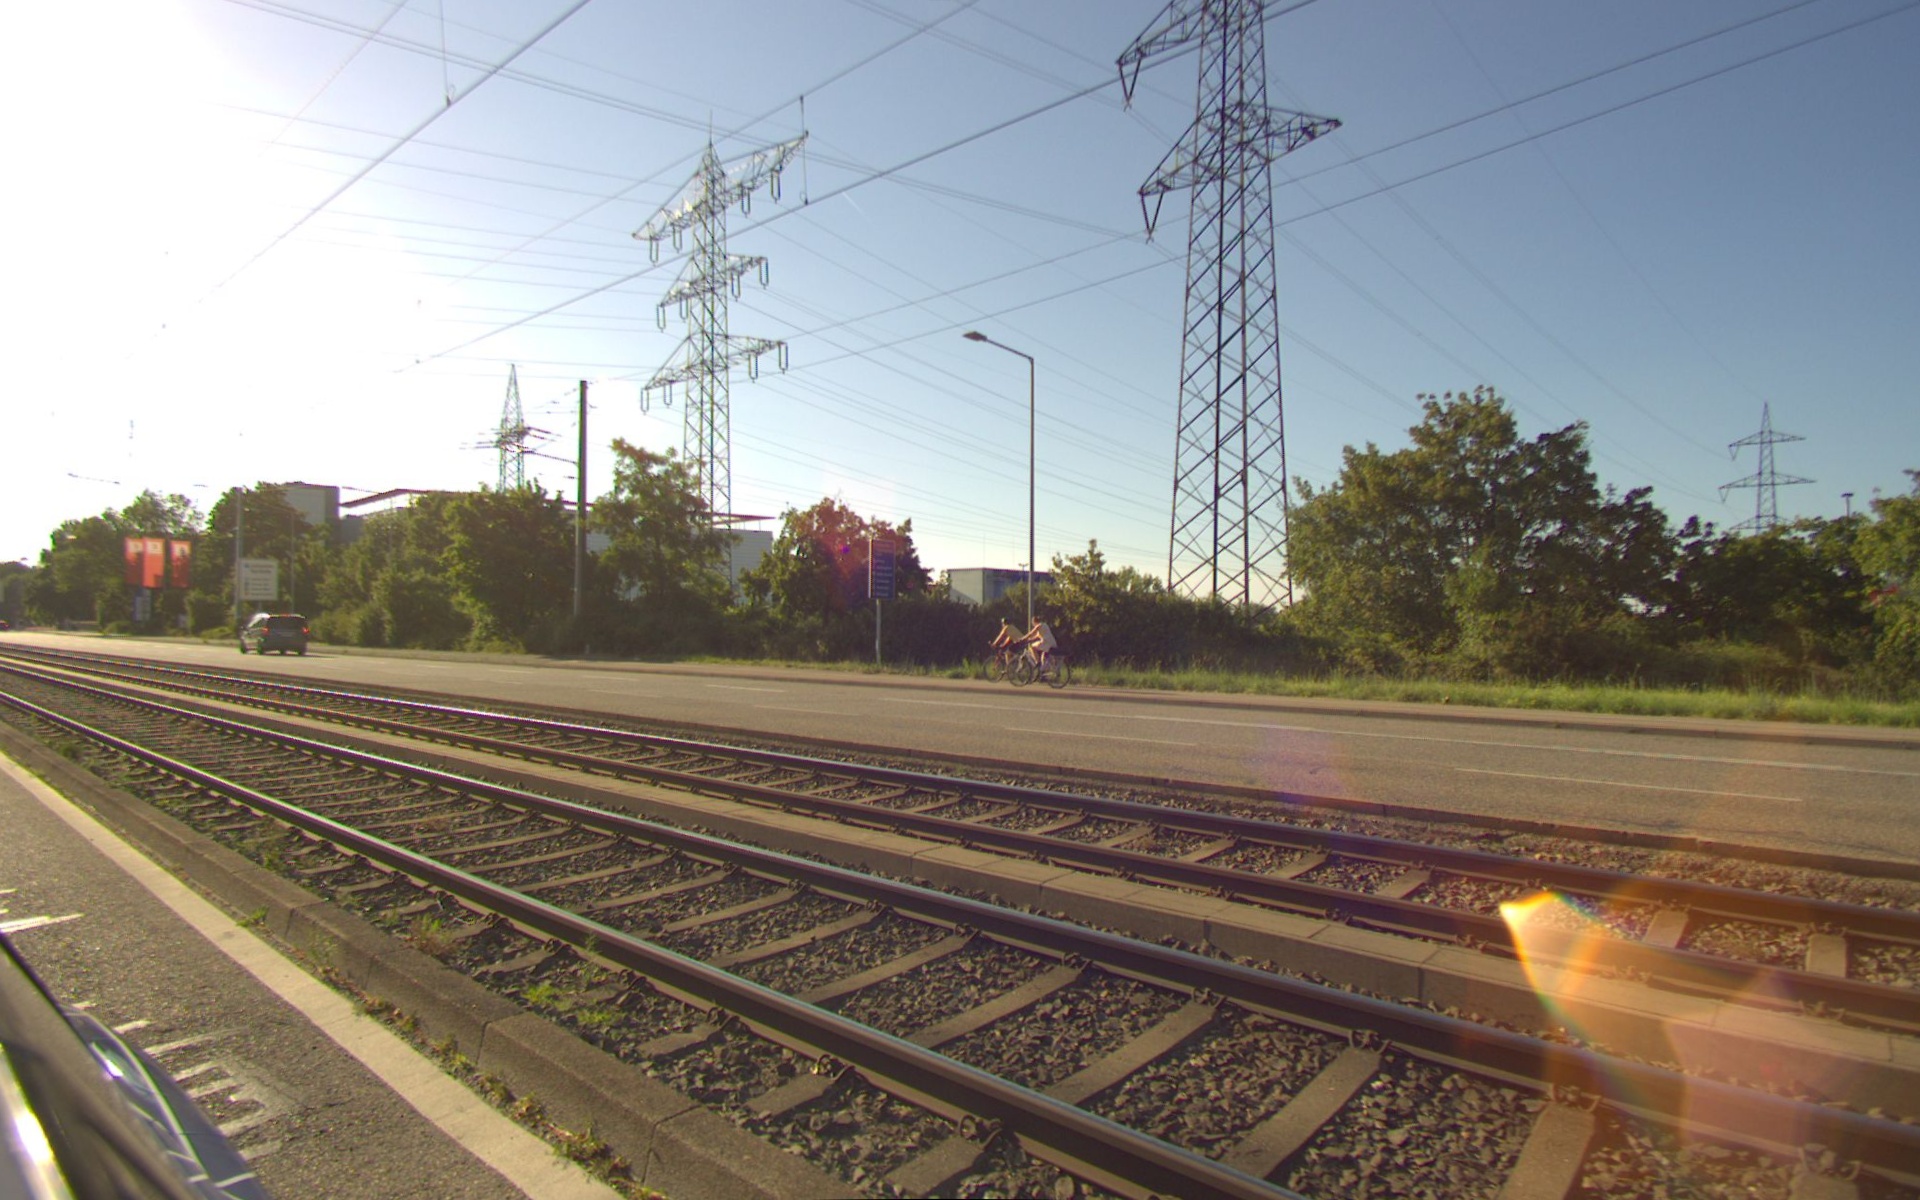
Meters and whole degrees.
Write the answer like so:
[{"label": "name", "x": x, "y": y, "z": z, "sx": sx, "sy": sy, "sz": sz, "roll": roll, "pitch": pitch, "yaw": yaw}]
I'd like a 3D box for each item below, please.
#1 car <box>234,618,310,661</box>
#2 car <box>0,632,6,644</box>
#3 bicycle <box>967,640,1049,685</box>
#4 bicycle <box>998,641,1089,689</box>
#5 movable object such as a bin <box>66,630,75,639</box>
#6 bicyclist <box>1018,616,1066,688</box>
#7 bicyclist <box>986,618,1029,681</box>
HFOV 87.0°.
[{"label": "car", "x": -33.367, "y": 1.945, "z": 49.037, "sx": 4.859, "sy": 1.937, "sz": 1.972, "roll": -4, "pitch": -4, "yaw": 43}, {"label": "car", "x": -139.672, "y": 5.440, "z": 146.307, "sx": 4.678, "sy": 1.637, "sz": 1.974, "roll": 0, "pitch": -2, "yaw": 39}, {"label": "bicycle", "x": 1.194, "y": 1.560, "z": 25.582, "sx": 2.184, "sy": 1.029, "sz": 0.584, "roll": -1, "pitch": -2, "yaw": 41}, {"label": "bicycle", "x": 1.916, "y": 1.481, "z": 23.414, "sx": 2.184, "sy": 1.029, "sz": 0.584, "roll": -1, "pitch": -2, "yaw": 41}, {"label": "movable object such as a bin", "x": -104.228, "y": 4.002, "z": 118.581, "sx": 1.083, "sy": 0.973, "sz": 0.606, "roll": -1, "pitch": 1, "yaw": 42}, {"label": "bicyclist", "x": 1.892, "y": 1.185, "z": 23.432, "sx": 0.966, "sy": 1.623, "sz": 0.584, "roll": -1, "pitch": -2, "yaw": 41}, {"label": "bicyclist", "x": 1.203, "y": 1.233, "z": 25.589, "sx": 0.905, "sy": 1.540, "sz": 0.584, "roll": -1, "pitch": -2, "yaw": 41}]
